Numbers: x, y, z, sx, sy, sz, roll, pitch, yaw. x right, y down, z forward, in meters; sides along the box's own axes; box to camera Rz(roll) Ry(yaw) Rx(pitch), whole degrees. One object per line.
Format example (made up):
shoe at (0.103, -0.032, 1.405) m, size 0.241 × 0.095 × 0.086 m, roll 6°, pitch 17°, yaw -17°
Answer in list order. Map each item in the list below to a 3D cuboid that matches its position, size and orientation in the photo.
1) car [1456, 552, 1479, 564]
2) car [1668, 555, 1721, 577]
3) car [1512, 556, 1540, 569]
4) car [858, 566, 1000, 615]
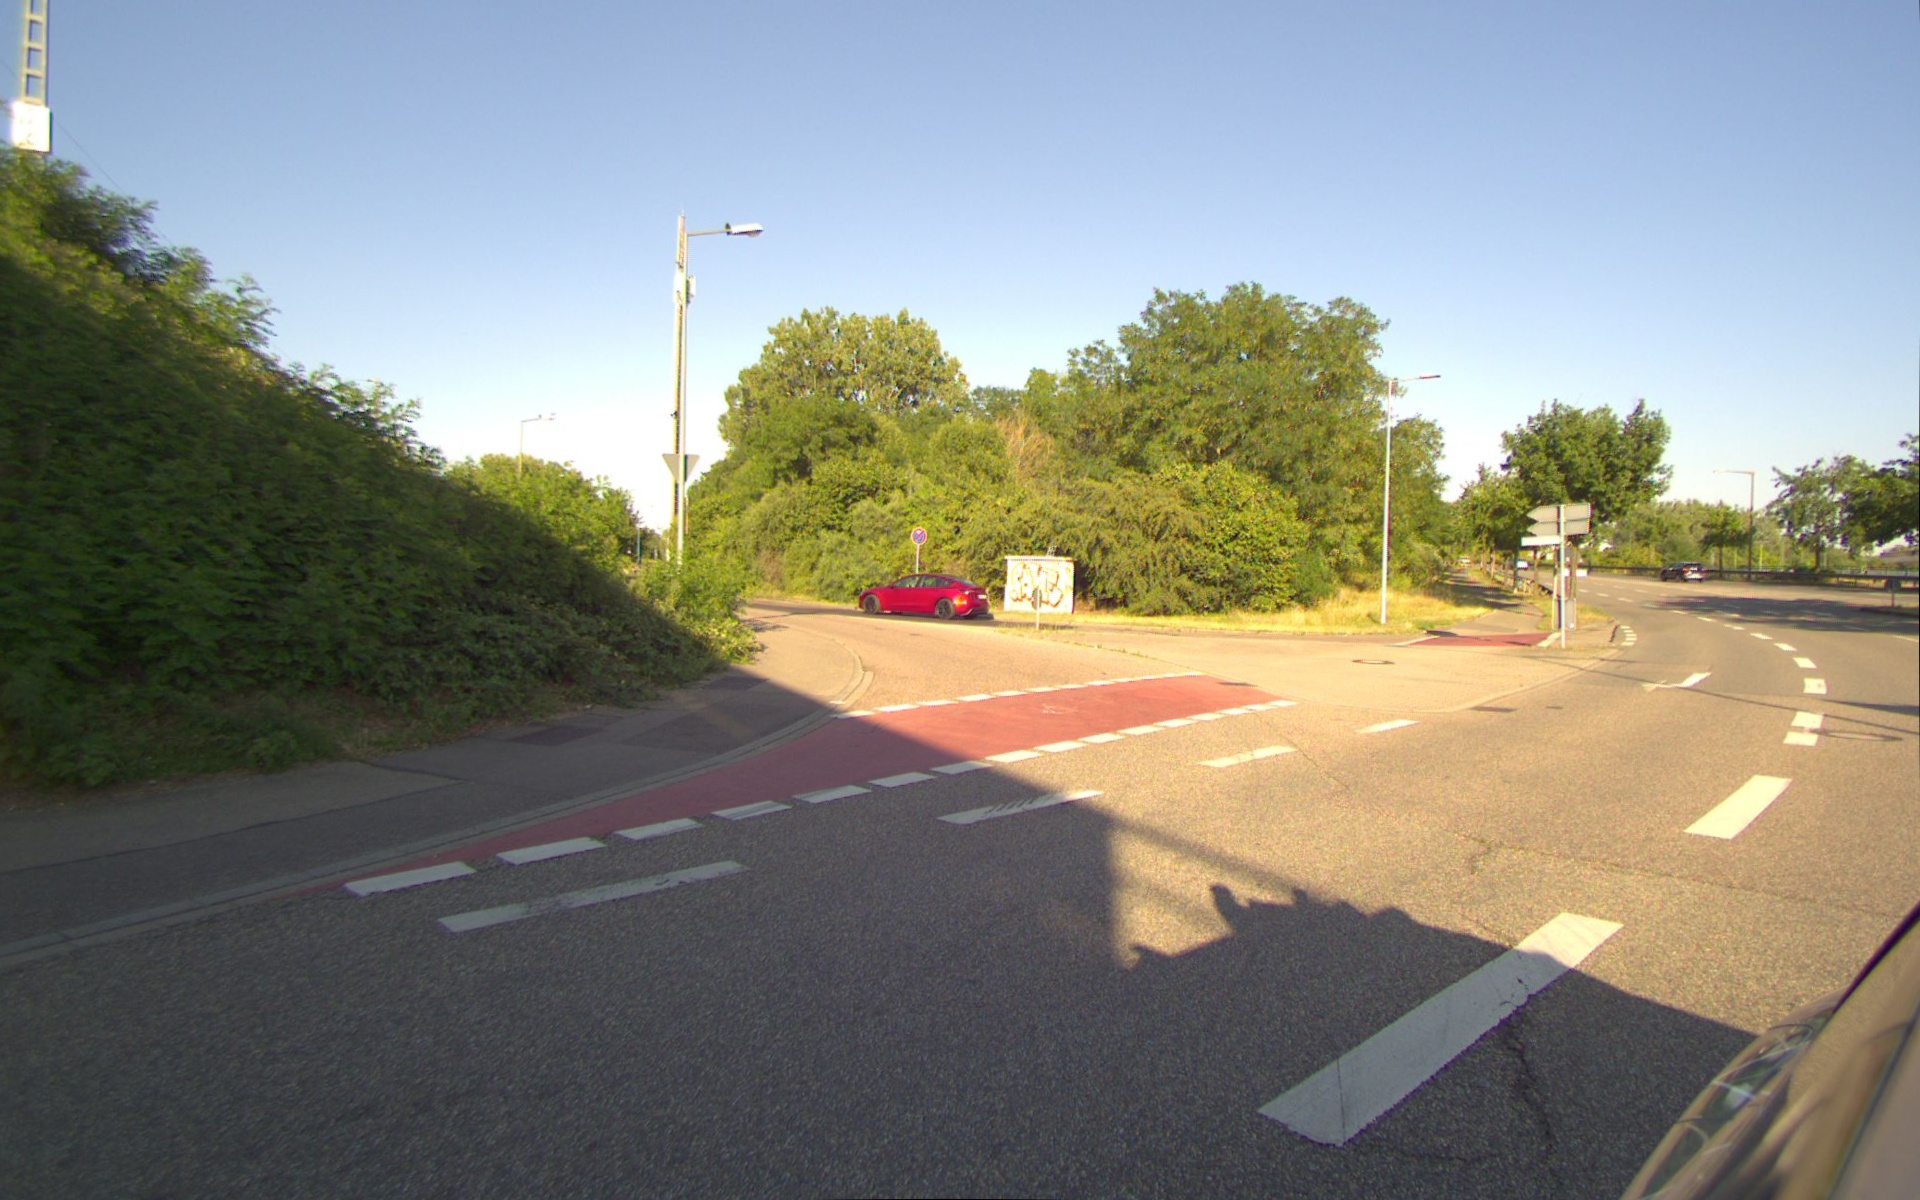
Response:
car at (69.094, -5.724, 137.765) m, size 1.717 × 1.481 × 3.758 m, roll -1°, pitch 1°, yaw 8°
car at (57.543, -2.689, 79.356) m, size 1.824 × 1.623 × 4.377 m, roll 1°, pitch 2°, yaw 14°
car at (66.723, -4.415, 119.421) m, size 1.651 × 1.480 × 4.093 m, roll 0°, pitch 2°, yaw 11°
car at (-1.017, -0.305, 32.922) m, size 4.318 × 1.460 × 1.766 m, roll 1°, pitch -1°, yaw 28°
